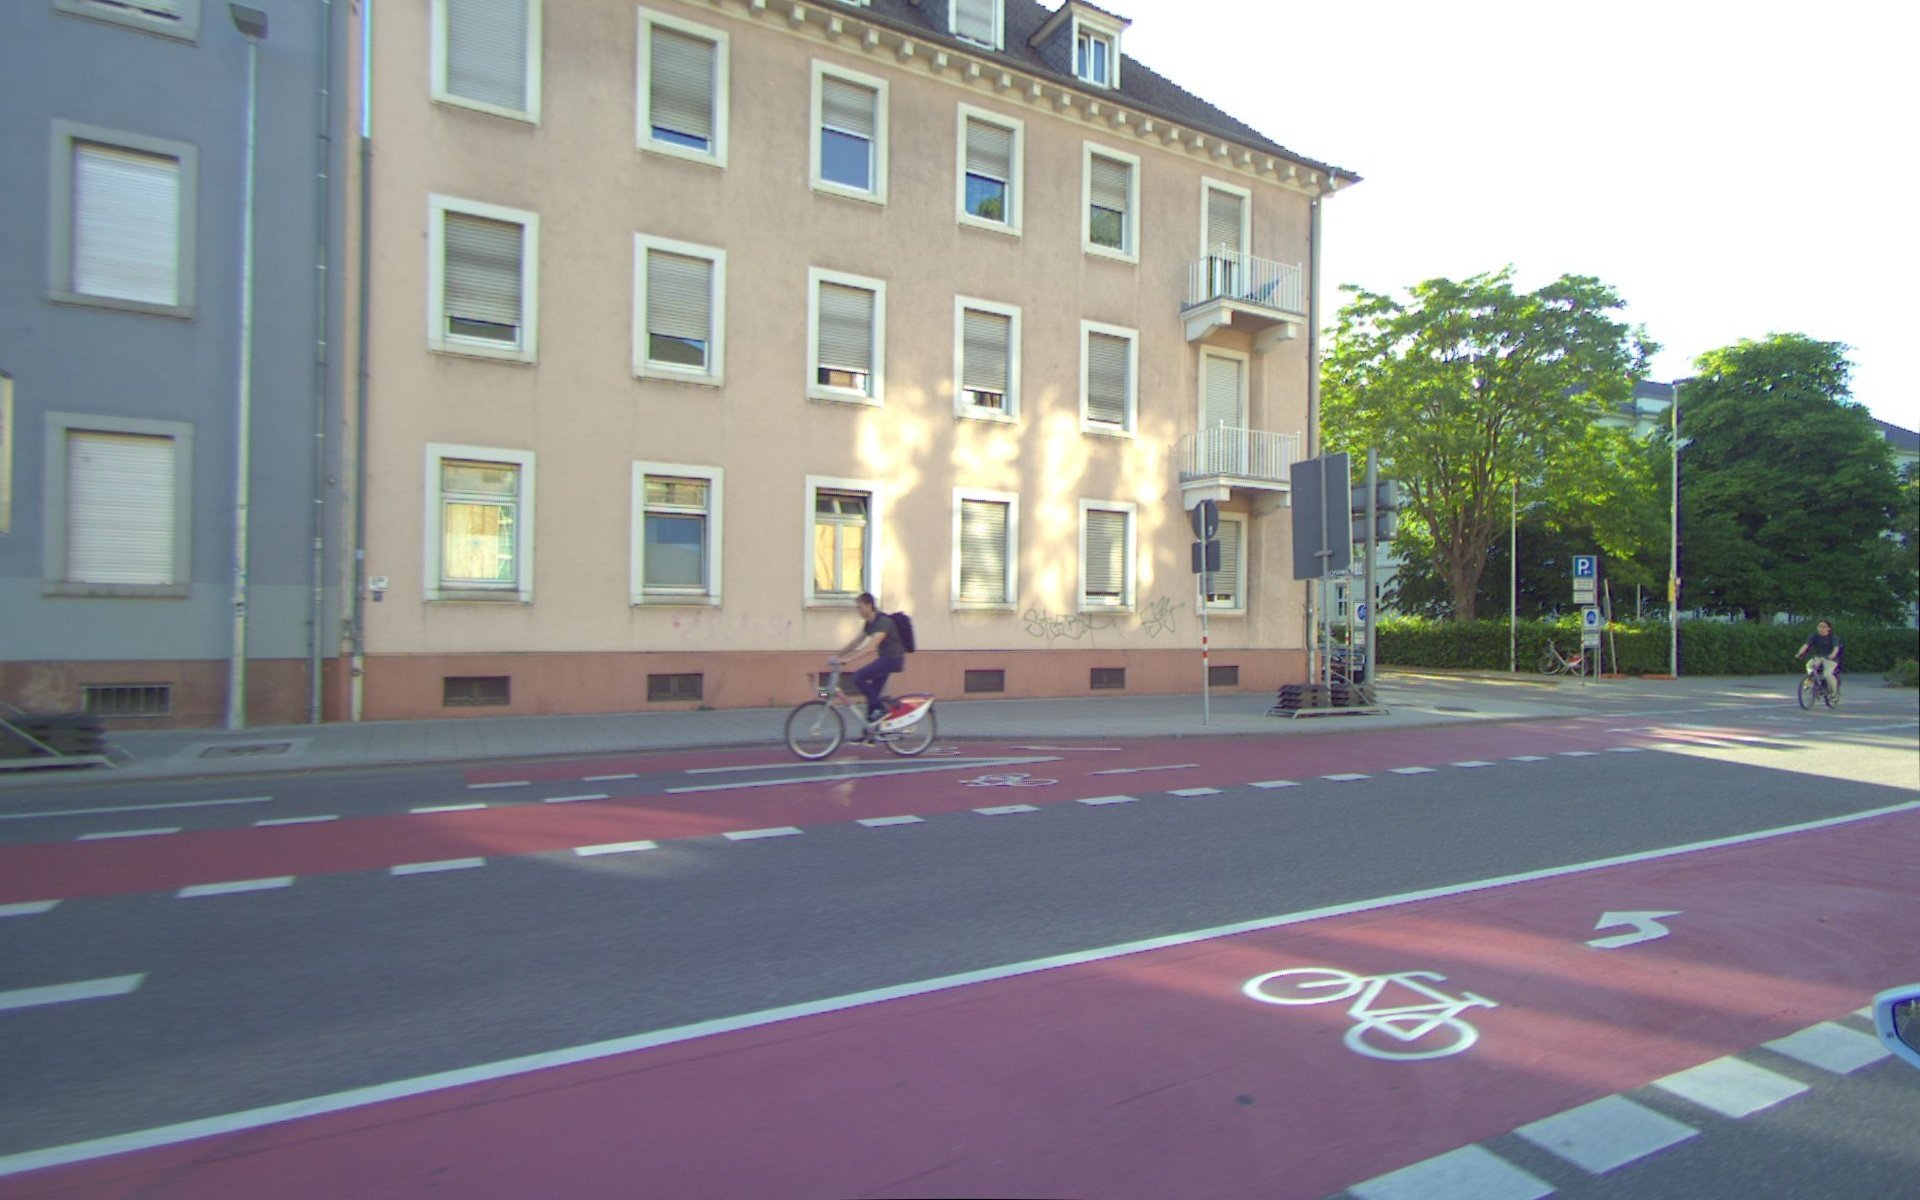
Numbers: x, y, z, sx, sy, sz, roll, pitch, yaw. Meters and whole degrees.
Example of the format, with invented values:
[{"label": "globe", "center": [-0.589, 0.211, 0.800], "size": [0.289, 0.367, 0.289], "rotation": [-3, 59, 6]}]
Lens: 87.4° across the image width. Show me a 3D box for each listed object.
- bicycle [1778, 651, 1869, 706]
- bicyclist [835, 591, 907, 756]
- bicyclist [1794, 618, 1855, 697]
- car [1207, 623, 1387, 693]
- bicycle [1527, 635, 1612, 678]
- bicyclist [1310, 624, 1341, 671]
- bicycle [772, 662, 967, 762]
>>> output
[{"label": "bicycle", "center": [16.815, 1.506, 19.544], "size": [2.083, 1.009, 0.649], "rotation": [1, -3, -29]}, {"label": "bicyclist", "center": [-0.986, 0.797, 11.029], "size": [0.725, 1.732, 0.637], "rotation": [0, -3, -10]}, {"label": "bicyclist", "center": [16.861, 1.131, 19.602], "size": [0.657, 1.504, 0.653], "rotation": [1, -4, -29]}, {"label": "car", "center": [9.020, 1.493, 27.297], "size": [2.034, 1.700, 4.559], "rotation": [1, -1, -26]}, {"label": "bicycle", "center": [18.498, 1.698, 30.553], "size": [0.552, 1.246, 2.314], "rotation": [1, -1, -23]}, {"label": "bicyclist", "center": [11.952, 1.546, 32.882], "size": [0.733, 1.505, 0.658], "rotation": [2, -3, -39]}, {"label": "bicycle", "center": [-0.998, 1.196, 10.969], "size": [2.072, 1.009, 0.647], "rotation": [0, -2, -11]}]
